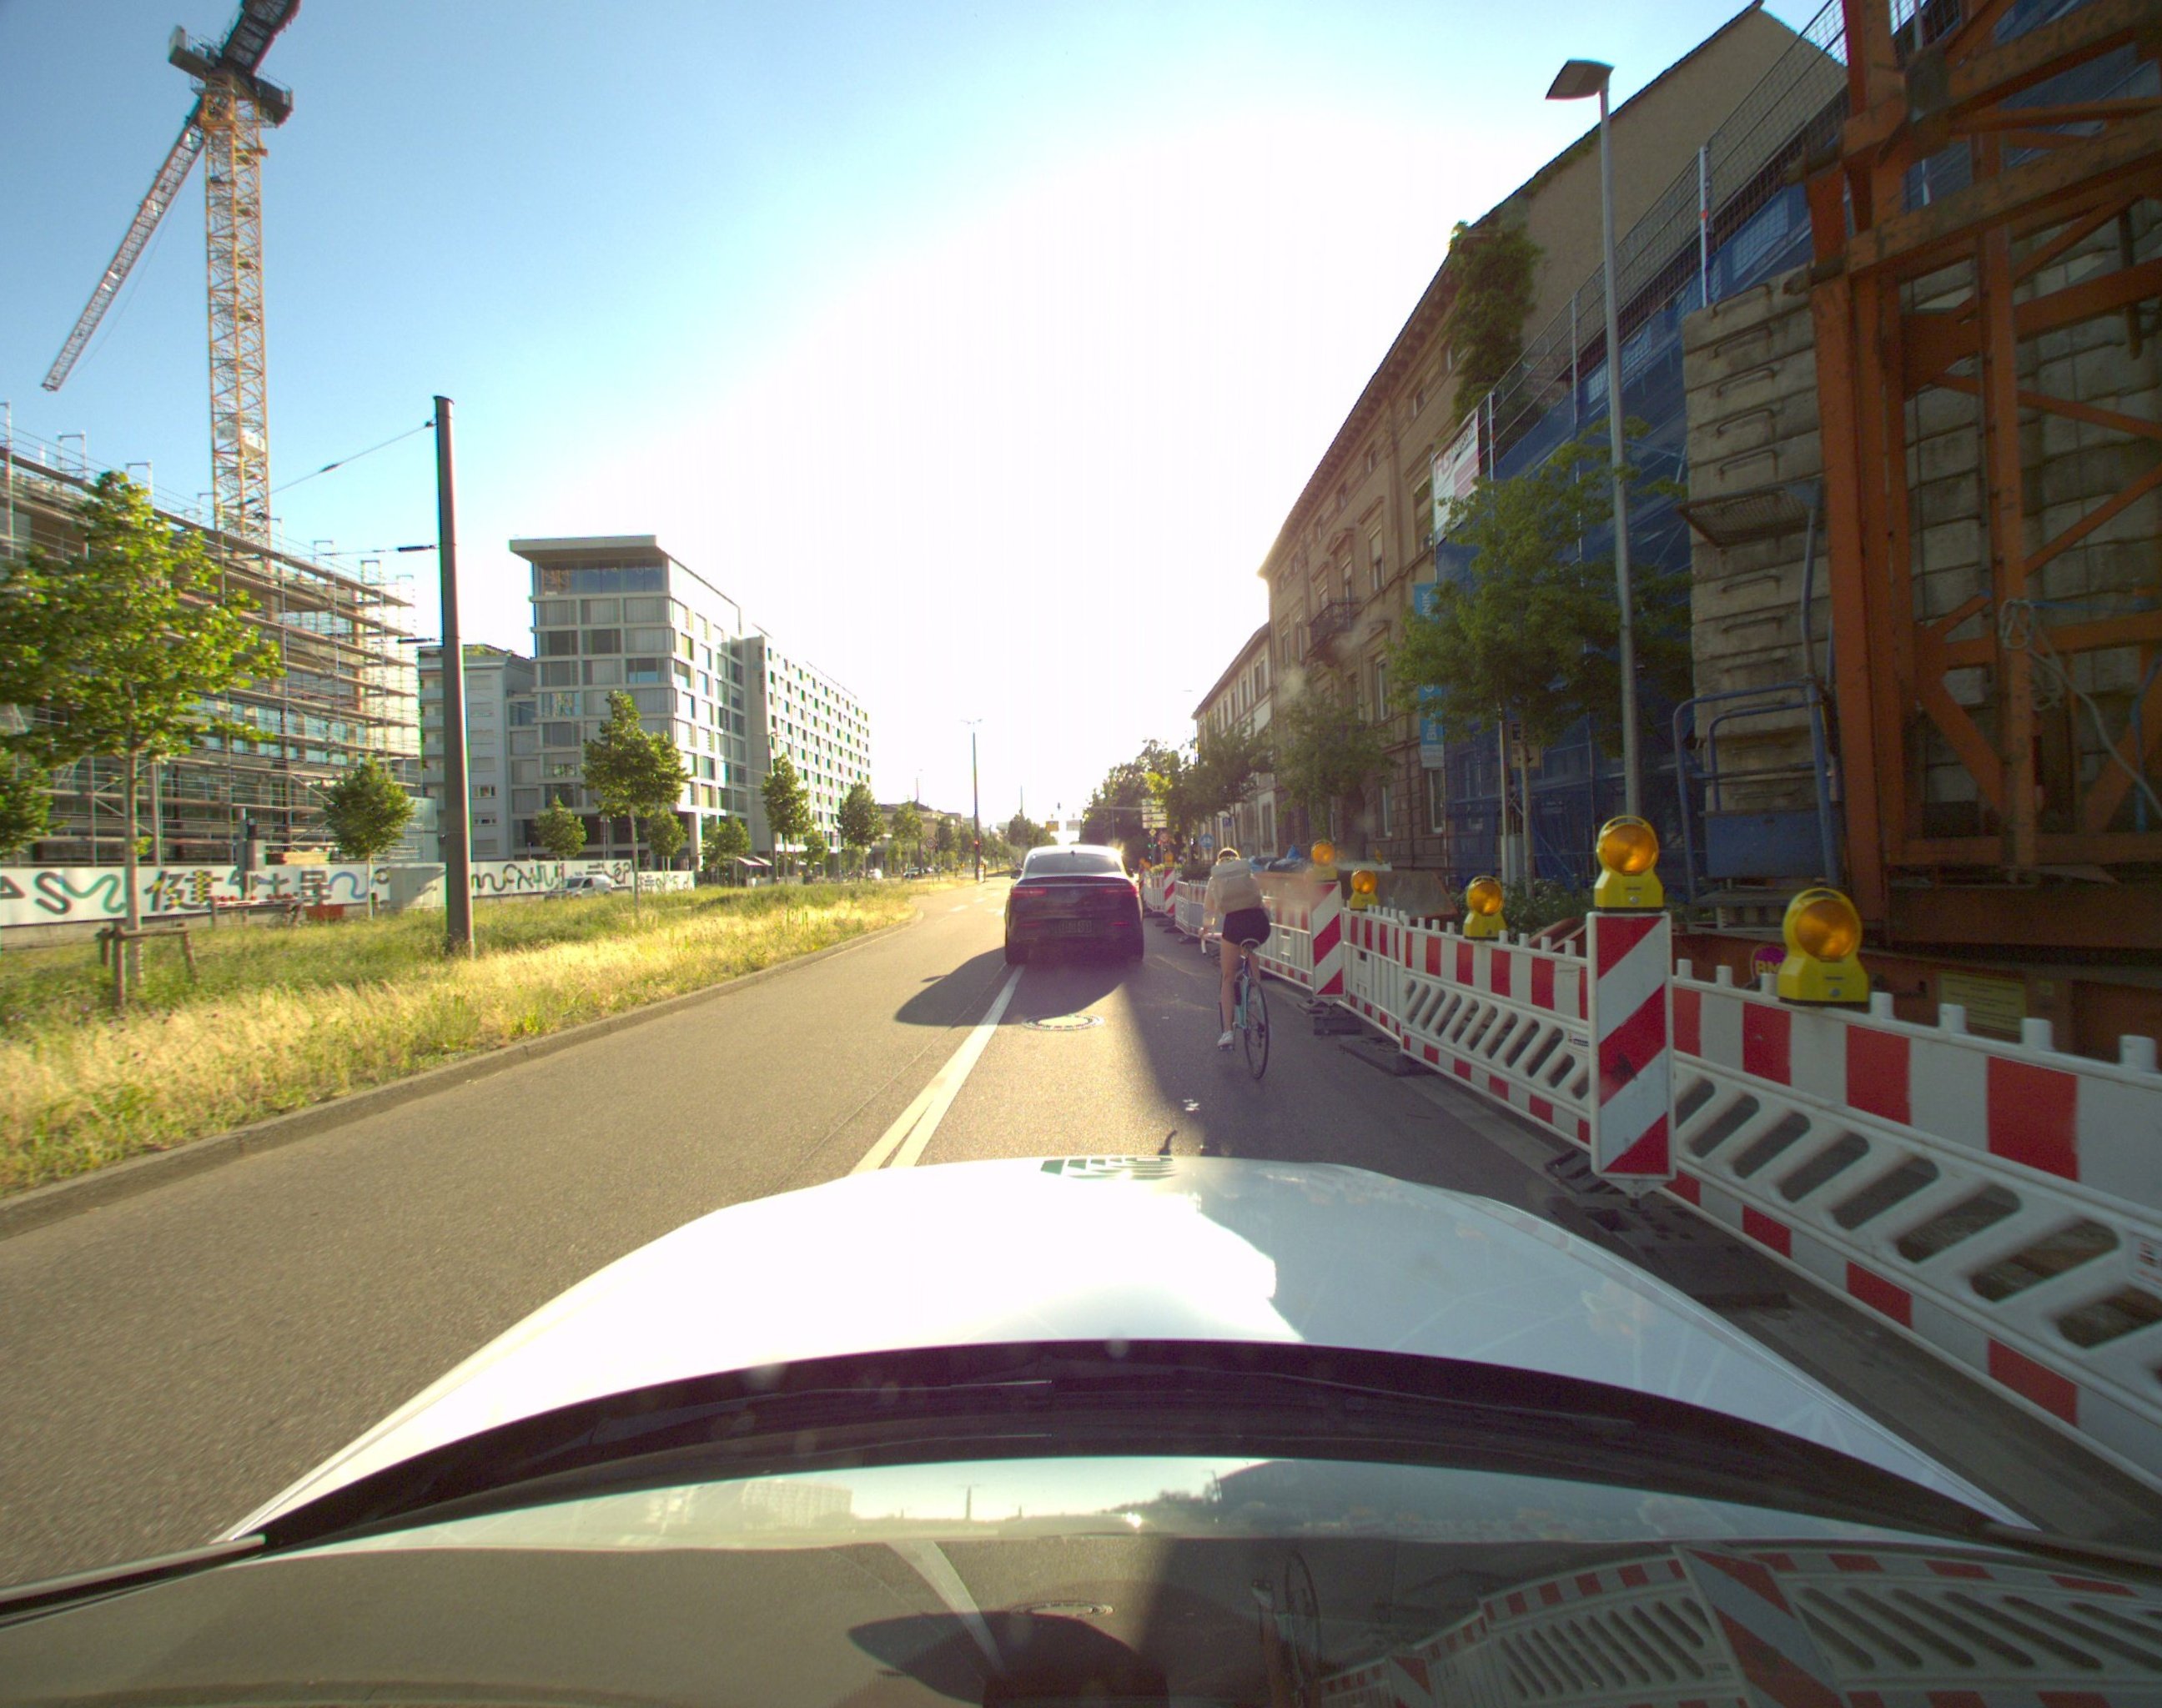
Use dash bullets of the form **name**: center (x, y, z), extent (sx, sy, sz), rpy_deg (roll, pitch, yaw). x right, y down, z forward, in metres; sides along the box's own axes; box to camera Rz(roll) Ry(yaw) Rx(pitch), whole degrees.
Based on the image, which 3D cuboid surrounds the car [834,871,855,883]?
- **car**: center (-30.971, 3.019, 106.847), extent (1.702, 1.442, 3.582), rpy_deg (0, -1, 0)

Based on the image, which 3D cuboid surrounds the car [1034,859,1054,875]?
- **car**: center (-3.556, 1.277, 78.327), extent (1.702, 1.442, 3.582), rpy_deg (-1, 0, 0)

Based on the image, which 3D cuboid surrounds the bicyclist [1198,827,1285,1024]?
- **bicyclist**: center (1.187, 0.513, 6.107), extent (0.521, 1.395, 0.614), rpy_deg (0, -1, -1)

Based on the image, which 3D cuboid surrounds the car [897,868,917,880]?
- **car**: center (-22.062, 2.528, 103.392), extent (1.702, 1.442, 3.582), rpy_deg (0, -1, 0)

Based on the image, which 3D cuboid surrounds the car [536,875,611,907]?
- **car**: center (-29.077, 2.078, 46.769), extent (1.781, 1.684, 3.644), rpy_deg (-1, -1, 6)

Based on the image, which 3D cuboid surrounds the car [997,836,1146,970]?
- **car**: center (-0.038, 0.676, 12.879), extent (1.985, 1.772, 4.002), rpy_deg (0, -1, 2)

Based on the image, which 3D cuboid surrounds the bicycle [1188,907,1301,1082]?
- **bicycle**: center (1.192, 0.979, 6.236), extent (0.510, 1.052, 1.725), rpy_deg (0, -1, 0)

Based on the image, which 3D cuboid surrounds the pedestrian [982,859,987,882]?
- **pedestrian**: center (-7.507, 1.306, 63.228), extent (0.333, 1.763, 0.418), rpy_deg (0, -1, 0)
